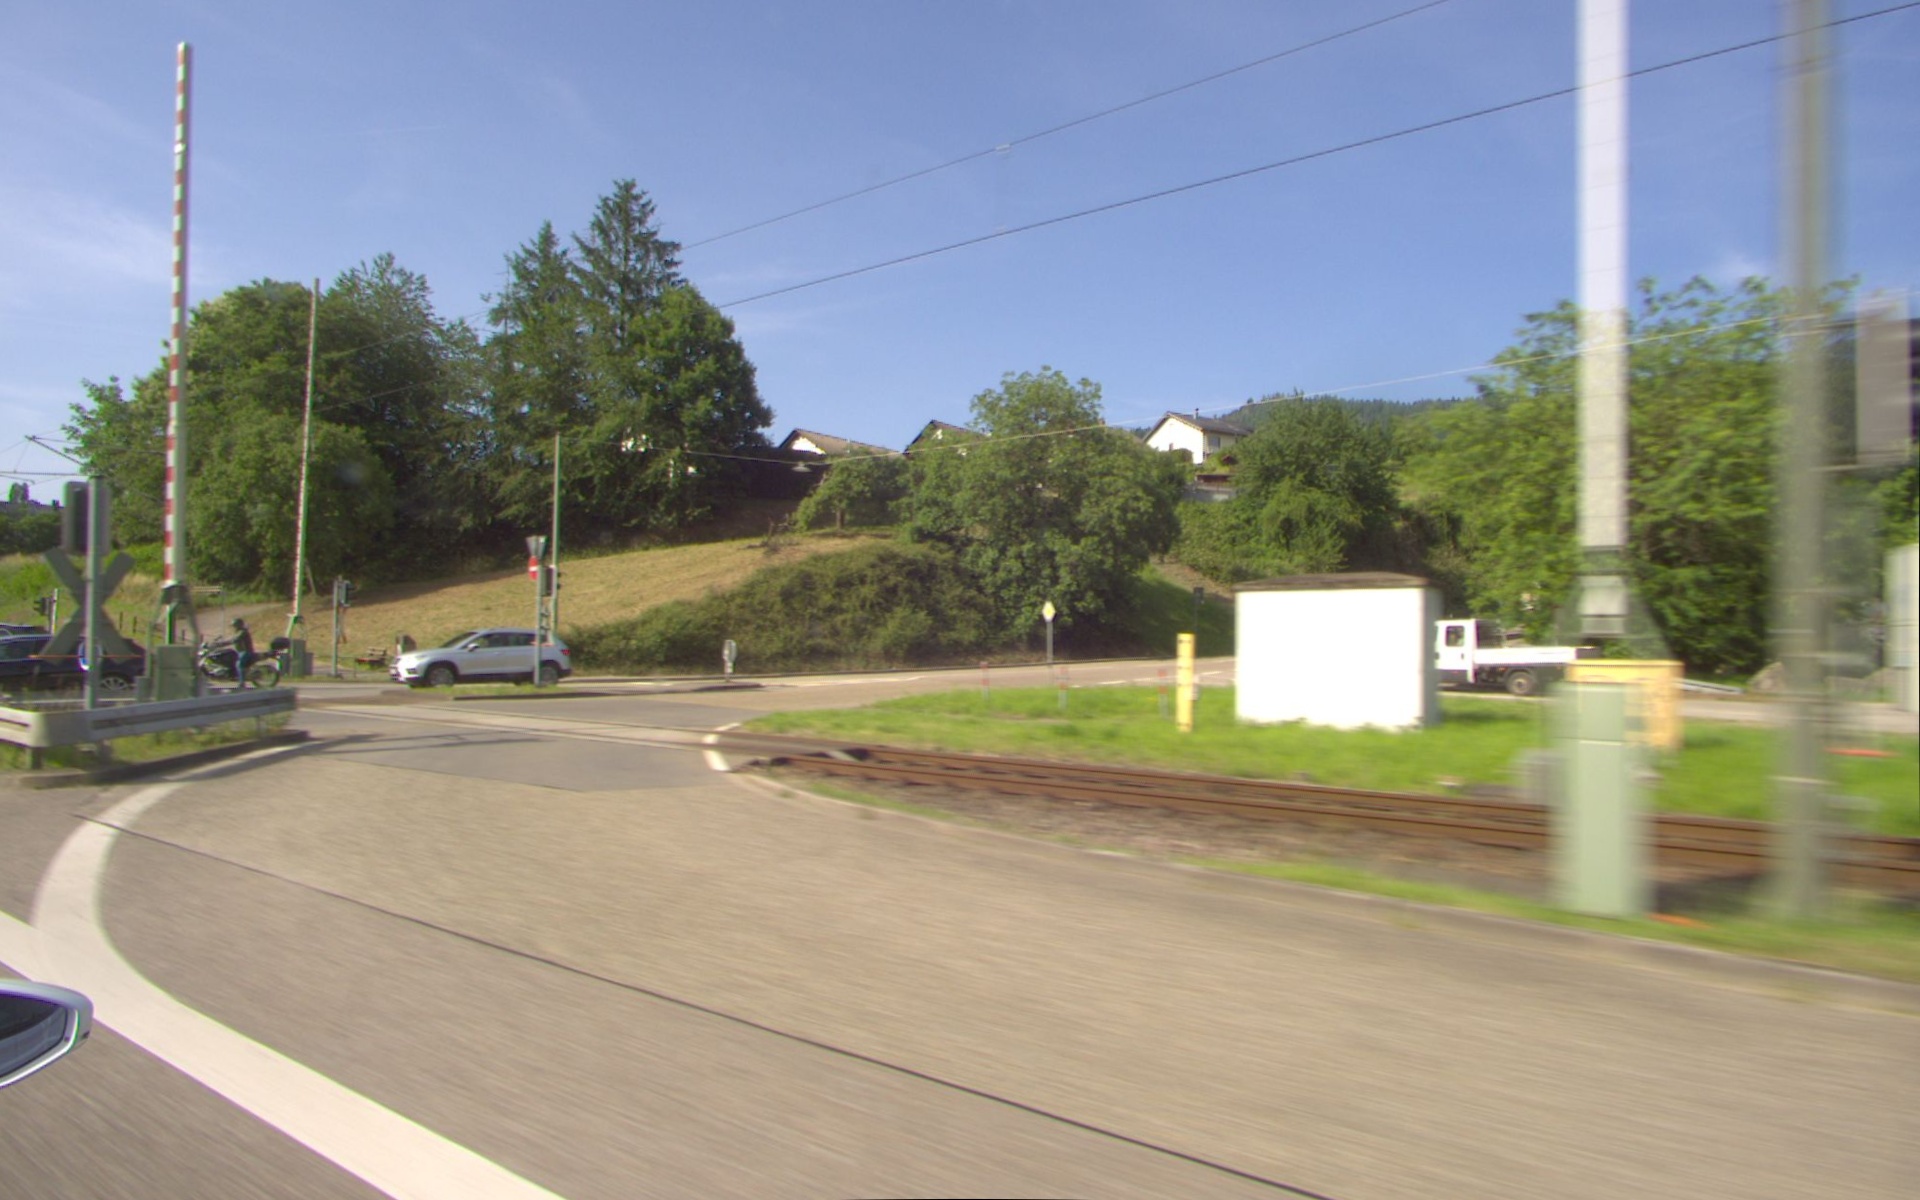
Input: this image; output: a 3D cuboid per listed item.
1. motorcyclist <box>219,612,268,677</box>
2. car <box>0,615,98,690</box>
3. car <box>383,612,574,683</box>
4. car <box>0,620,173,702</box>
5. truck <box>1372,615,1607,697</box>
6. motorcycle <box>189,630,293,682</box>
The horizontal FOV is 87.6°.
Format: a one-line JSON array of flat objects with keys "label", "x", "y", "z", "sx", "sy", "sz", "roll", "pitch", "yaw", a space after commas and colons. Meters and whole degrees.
[{"label": "motorcyclist", "x": -18.334, "y": 1.137, "z": 25.624, "sx": 0.900, "sy": 1.617, "sz": 0.759, "roll": 3, "pitch": -2, "yaw": -41}, {"label": "car", "x": -22.779, "y": 1.190, "z": 22.752, "sx": 4.685, "sy": 1.681, "sz": 1.916, "roll": 1, "pitch": -2, "yaw": -38}, {"label": "car", "x": -12.469, "y": 1.260, "z": 26.077, "sx": 4.089, "sy": 1.708, "sz": 1.817, "roll": 4, "pitch": -3, "yaw": -45}, {"label": "car", "x": -17.981, "y": 1.124, "z": 18.833, "sx": 1.817, "sy": 1.489, "sz": 4.713, "roll": -1, "pitch": -1, "yaw": 35}, {"label": "truck", "x": 15.991, "y": 1.656, "z": 30.563, "sx": 2.382, "sy": 2.261, "sz": 5.886, "roll": 0, "pitch": -2, "yaw": -41}, {"label": "motorcycle", "x": -18.368, "y": 1.436, "z": 25.593, "sx": 2.077, "sy": 1.270, "sz": 0.792, "roll": 3, "pitch": -3, "yaw": -40}]
